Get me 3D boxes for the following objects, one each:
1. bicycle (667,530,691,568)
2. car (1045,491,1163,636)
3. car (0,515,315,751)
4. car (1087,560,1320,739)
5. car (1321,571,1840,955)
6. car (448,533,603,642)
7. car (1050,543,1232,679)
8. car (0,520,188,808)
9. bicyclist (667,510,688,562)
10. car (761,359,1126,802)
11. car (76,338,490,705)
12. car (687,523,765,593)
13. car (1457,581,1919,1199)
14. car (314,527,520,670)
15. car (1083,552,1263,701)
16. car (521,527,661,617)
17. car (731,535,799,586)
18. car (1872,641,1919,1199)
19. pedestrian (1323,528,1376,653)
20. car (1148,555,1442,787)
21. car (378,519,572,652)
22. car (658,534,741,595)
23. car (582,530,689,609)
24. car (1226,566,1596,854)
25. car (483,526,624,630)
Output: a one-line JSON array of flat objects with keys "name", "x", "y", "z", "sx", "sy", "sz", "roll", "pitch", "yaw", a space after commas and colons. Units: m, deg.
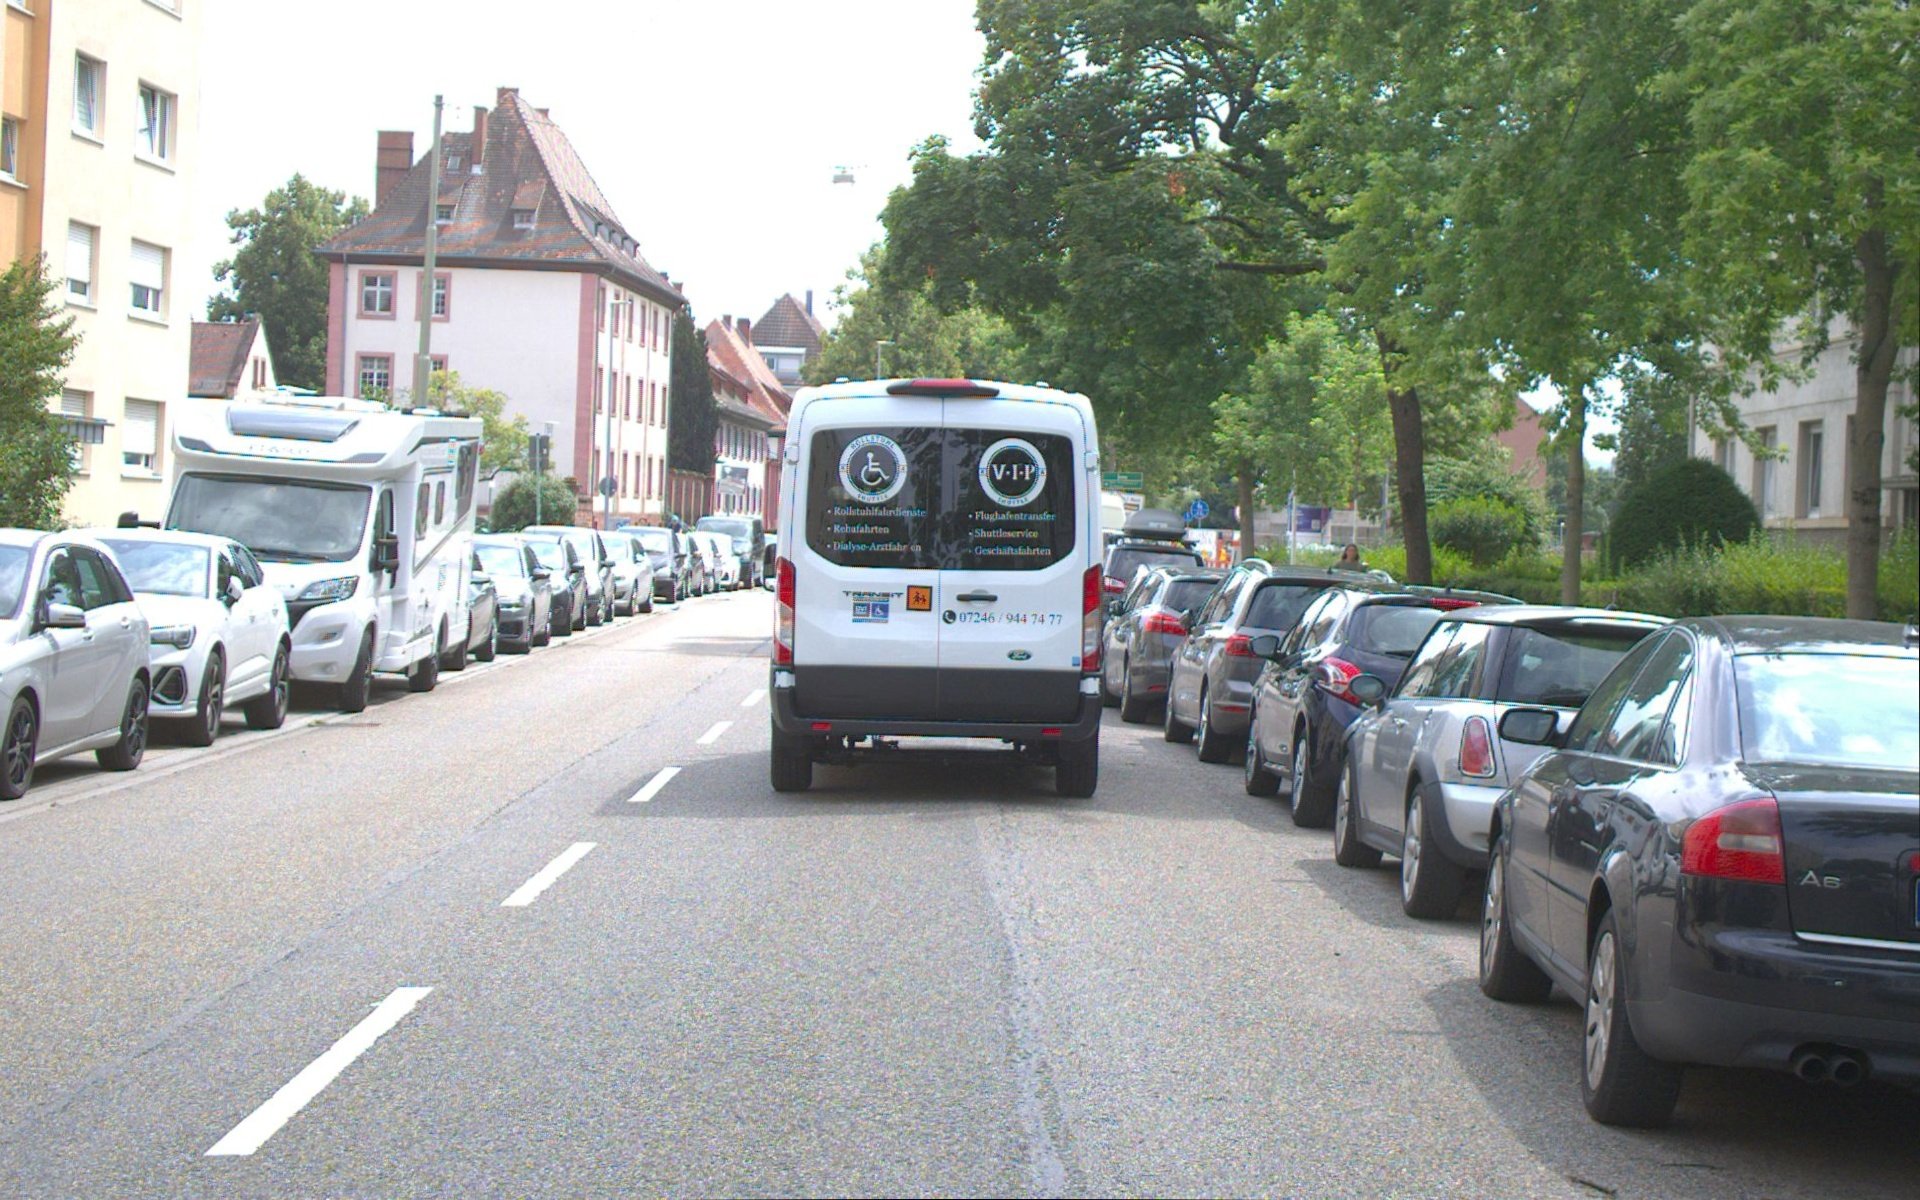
[{"name": "bicycle", "x": -8.636, "y": -1.570, "z": 105.608, "sx": 0.541, "sy": 1.171, "sz": 1.349, "roll": 1, "pitch": 1, "yaw": 3}, {"name": "car", "x": 2.753, "y": -0.726, "z": 66.875, "sx": 1.897, "sy": 2.578, "sz": 4.829, "roll": 4, "pitch": 1, "yaw": 0}, {"name": "car", "x": -6.230, "y": 0.185, "z": 26.398, "sx": 1.688, "sy": 1.574, "sz": 4.594, "roll": 3, "pitch": 1, "yaw": -1}, {"name": "car", "x": 2.244, "y": 0.416, "z": 32.661, "sx": 1.617, "sy": 1.464, "sz": 4.392, "roll": 3, "pitch": 1, "yaw": -3}, {"name": "car", "x": 2.792, "y": 0.668, "z": 16.261, "sx": 1.659, "sy": 1.464, "sz": 3.726, "roll": 2, "pitch": 2, "yaw": -1}, {"name": "car", "x": -6.529, "y": -0.222, "z": 52.097, "sx": 1.741, "sy": 1.491, "sz": 4.786, "roll": 3, "pitch": 1, "yaw": -1}, {"name": "car", "x": 2.471, "y": 0.098, "z": 48.271, "sx": 1.927, "sy": 1.655, "sz": 5.326, "roll": 4, "pitch": 1, "yaw": -2}, {"name": "car", "x": -6.217, "y": 0.300, "z": 21.266, "sx": 1.755, "sy": 1.574, "sz": 4.568, "roll": 3, "pitch": 1, "yaw": 0}, {"name": "bicyclist", "x": -8.644, "y": -1.967, "z": 105.273, "sx": 0.536, "sy": 1.580, "sz": 0.691, "roll": 1, "pitch": 1, "yaw": 3}, {"name": "car", "x": -0.182, "y": -0.136, "z": 22.217, "sx": 2.070, "sy": 2.531, "sz": 4.635, "roll": 1, "pitch": 1, "yaw": -2}, {"name": "car", "x": -6.321, "y": -0.743, "z": 33.224, "sx": 2.510, "sy": 3.013, "sz": 7.397, "roll": 3, "pitch": 1, "yaw": -1}, {"name": "car", "x": -6.528, "y": -1.192, "z": 96.240, "sx": 1.786, "sy": 1.820, "sz": 3.974, "roll": 3, "pitch": 1, "yaw": 1}, {"name": "car", "x": 2.697, "y": 0.745, "z": 10.582, "sx": 1.780, "sy": 1.464, "sz": 4.614, "roll": 3, "pitch": 1, "yaw": 3}, {"name": "car", "x": -6.282, "y": -0.056, "z": 40.204, "sx": 1.688, "sy": 1.491, "sz": 4.594, "roll": 3, "pitch": 1, "yaw": -1}, {"name": "car", "x": 2.302, "y": 0.254, "z": 38.019, "sx": 1.659, "sy": 1.451, "sz": 4.036, "roll": 3, "pitch": 1, "yaw": 0}, {"name": "car", "x": -6.741, "y": -0.537, "z": 63.283, "sx": 1.886, "sy": 1.483, "sz": 4.633, "roll": 3, "pitch": 1, "yaw": 2}, {"name": "car", "x": -6.058, "y": -1.243, "z": 107.379, "sx": 1.786, "sy": 1.477, "sz": 3.861, "roll": 3, "pitch": 1, "yaw": 1}, {"name": "car", "x": 2.846, "y": 0.877, "z": 5.391, "sx": 1.670, "sy": 1.396, "sz": 3.852, "roll": 4, "pitch": 1, "yaw": -1}, {"name": "pedestrian", "x": 5.757, "y": -0.140, "z": 50.812, "sx": 0.522, "sy": 1.822, "sz": 0.524, "roll": 1, "pitch": 1, "yaw": -32}, {"name": "car", "x": 2.605, "y": 0.503, "z": 27.673, "sx": 1.659, "sy": 1.577, "sz": 4.286, "roll": 4, "pitch": 1, "yaw": -2}, {"name": "car", "x": -6.428, "y": -0.235, "z": 46.065, "sx": 1.885, "sy": 1.574, "sz": 5.220, "roll": 3, "pitch": 1, "yaw": -1}, {"name": "car", "x": -6.857, "y": -0.954, "z": 90.944, "sx": 1.786, "sy": 1.477, "sz": 3.861, "roll": 3, "pitch": 1, "yaw": 1}, {"name": "car", "x": -6.868, "y": -0.672, "z": 72.996, "sx": 1.786, "sy": 1.538, "sz": 3.861, "roll": 3, "pitch": 1, "yaw": 1}, {"name": "car", "x": 2.683, "y": 0.601, "z": 21.261, "sx": 1.659, "sy": 1.464, "sz": 3.890, "roll": 1, "pitch": 2, "yaw": -1}, {"name": "car", "x": -6.735, "y": -0.390, "z": 57.284, "sx": 1.885, "sy": 1.574, "sz": 4.154, "roll": 3, "pitch": 1, "yaw": -2}]
